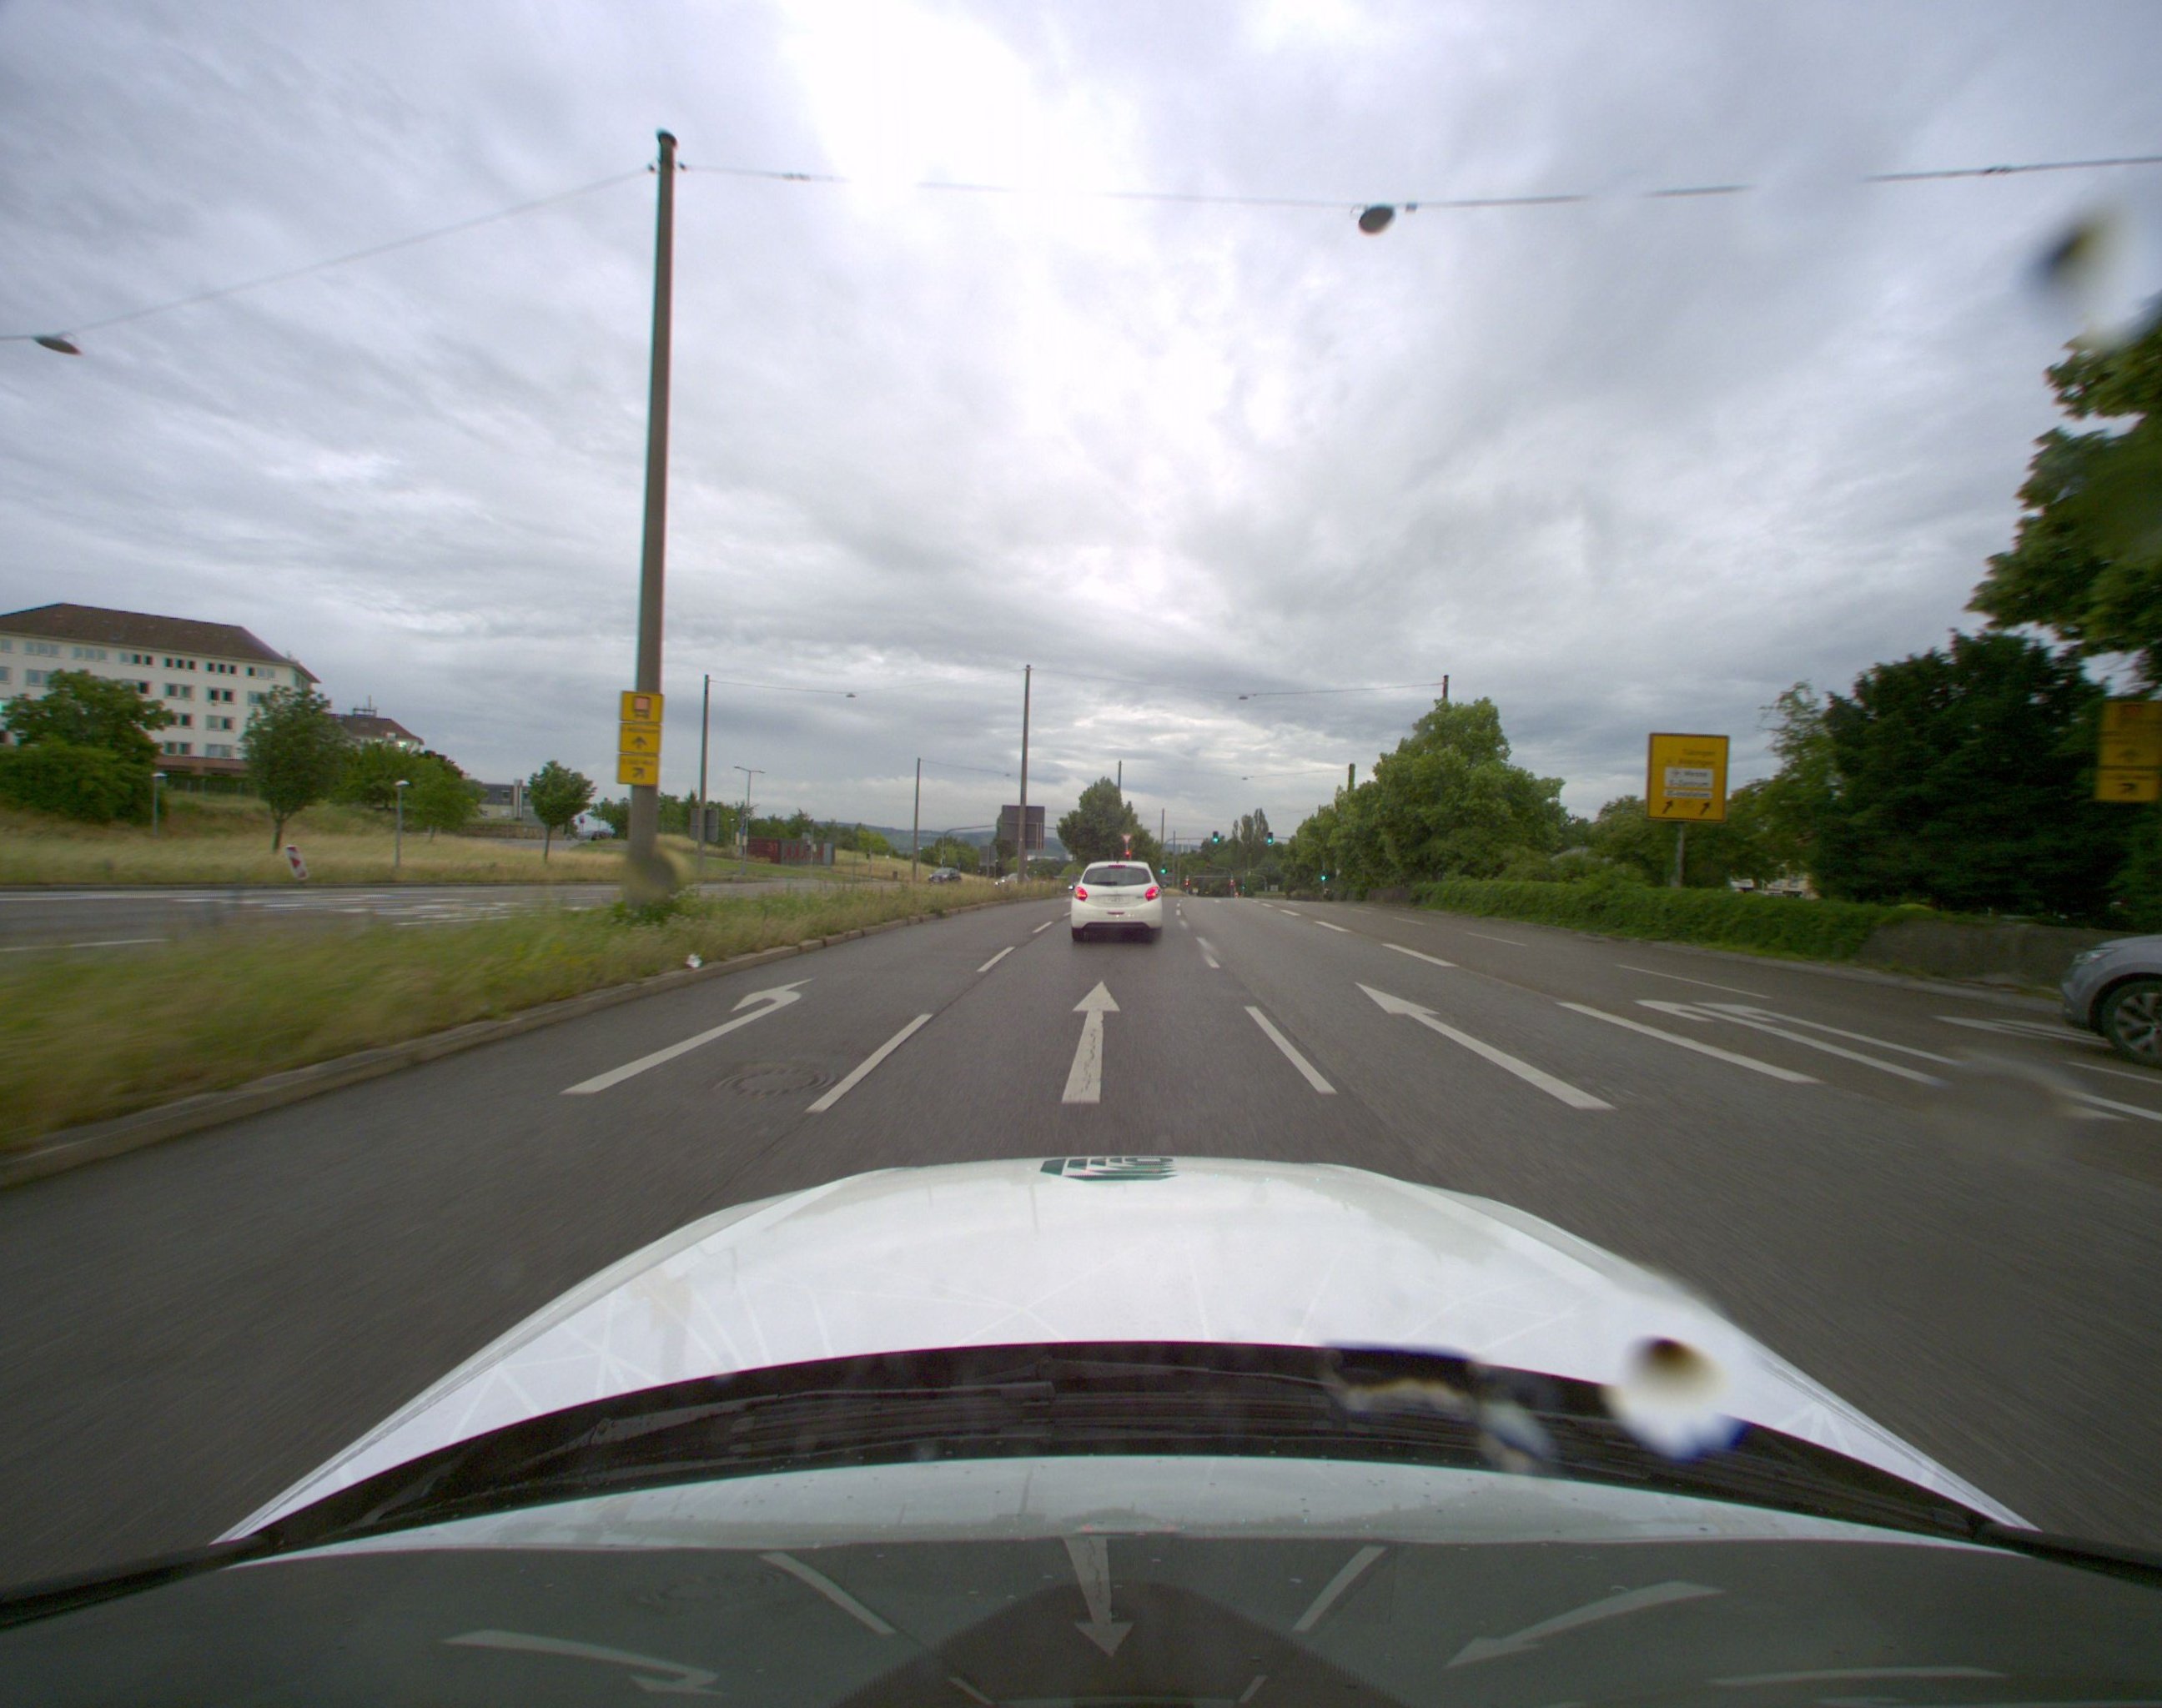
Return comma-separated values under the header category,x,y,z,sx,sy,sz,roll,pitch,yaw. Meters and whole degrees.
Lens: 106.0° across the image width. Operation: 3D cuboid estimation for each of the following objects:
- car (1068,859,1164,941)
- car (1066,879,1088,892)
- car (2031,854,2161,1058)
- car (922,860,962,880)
category,x,y,z,sx,sy,sz,roll,pitch,yaw
car,0.721,0.821,16.215,1.701,1.440,3.693,0,0,3
car,-0.476,3.883,99.465,1.740,1.504,4.476,1,-3,11
car,9.601,0.874,5.189,1.719,1.649,4.626,3,0,1
car,-10.852,1.287,63.875,1.756,1.384,4.011,1,-3,11
